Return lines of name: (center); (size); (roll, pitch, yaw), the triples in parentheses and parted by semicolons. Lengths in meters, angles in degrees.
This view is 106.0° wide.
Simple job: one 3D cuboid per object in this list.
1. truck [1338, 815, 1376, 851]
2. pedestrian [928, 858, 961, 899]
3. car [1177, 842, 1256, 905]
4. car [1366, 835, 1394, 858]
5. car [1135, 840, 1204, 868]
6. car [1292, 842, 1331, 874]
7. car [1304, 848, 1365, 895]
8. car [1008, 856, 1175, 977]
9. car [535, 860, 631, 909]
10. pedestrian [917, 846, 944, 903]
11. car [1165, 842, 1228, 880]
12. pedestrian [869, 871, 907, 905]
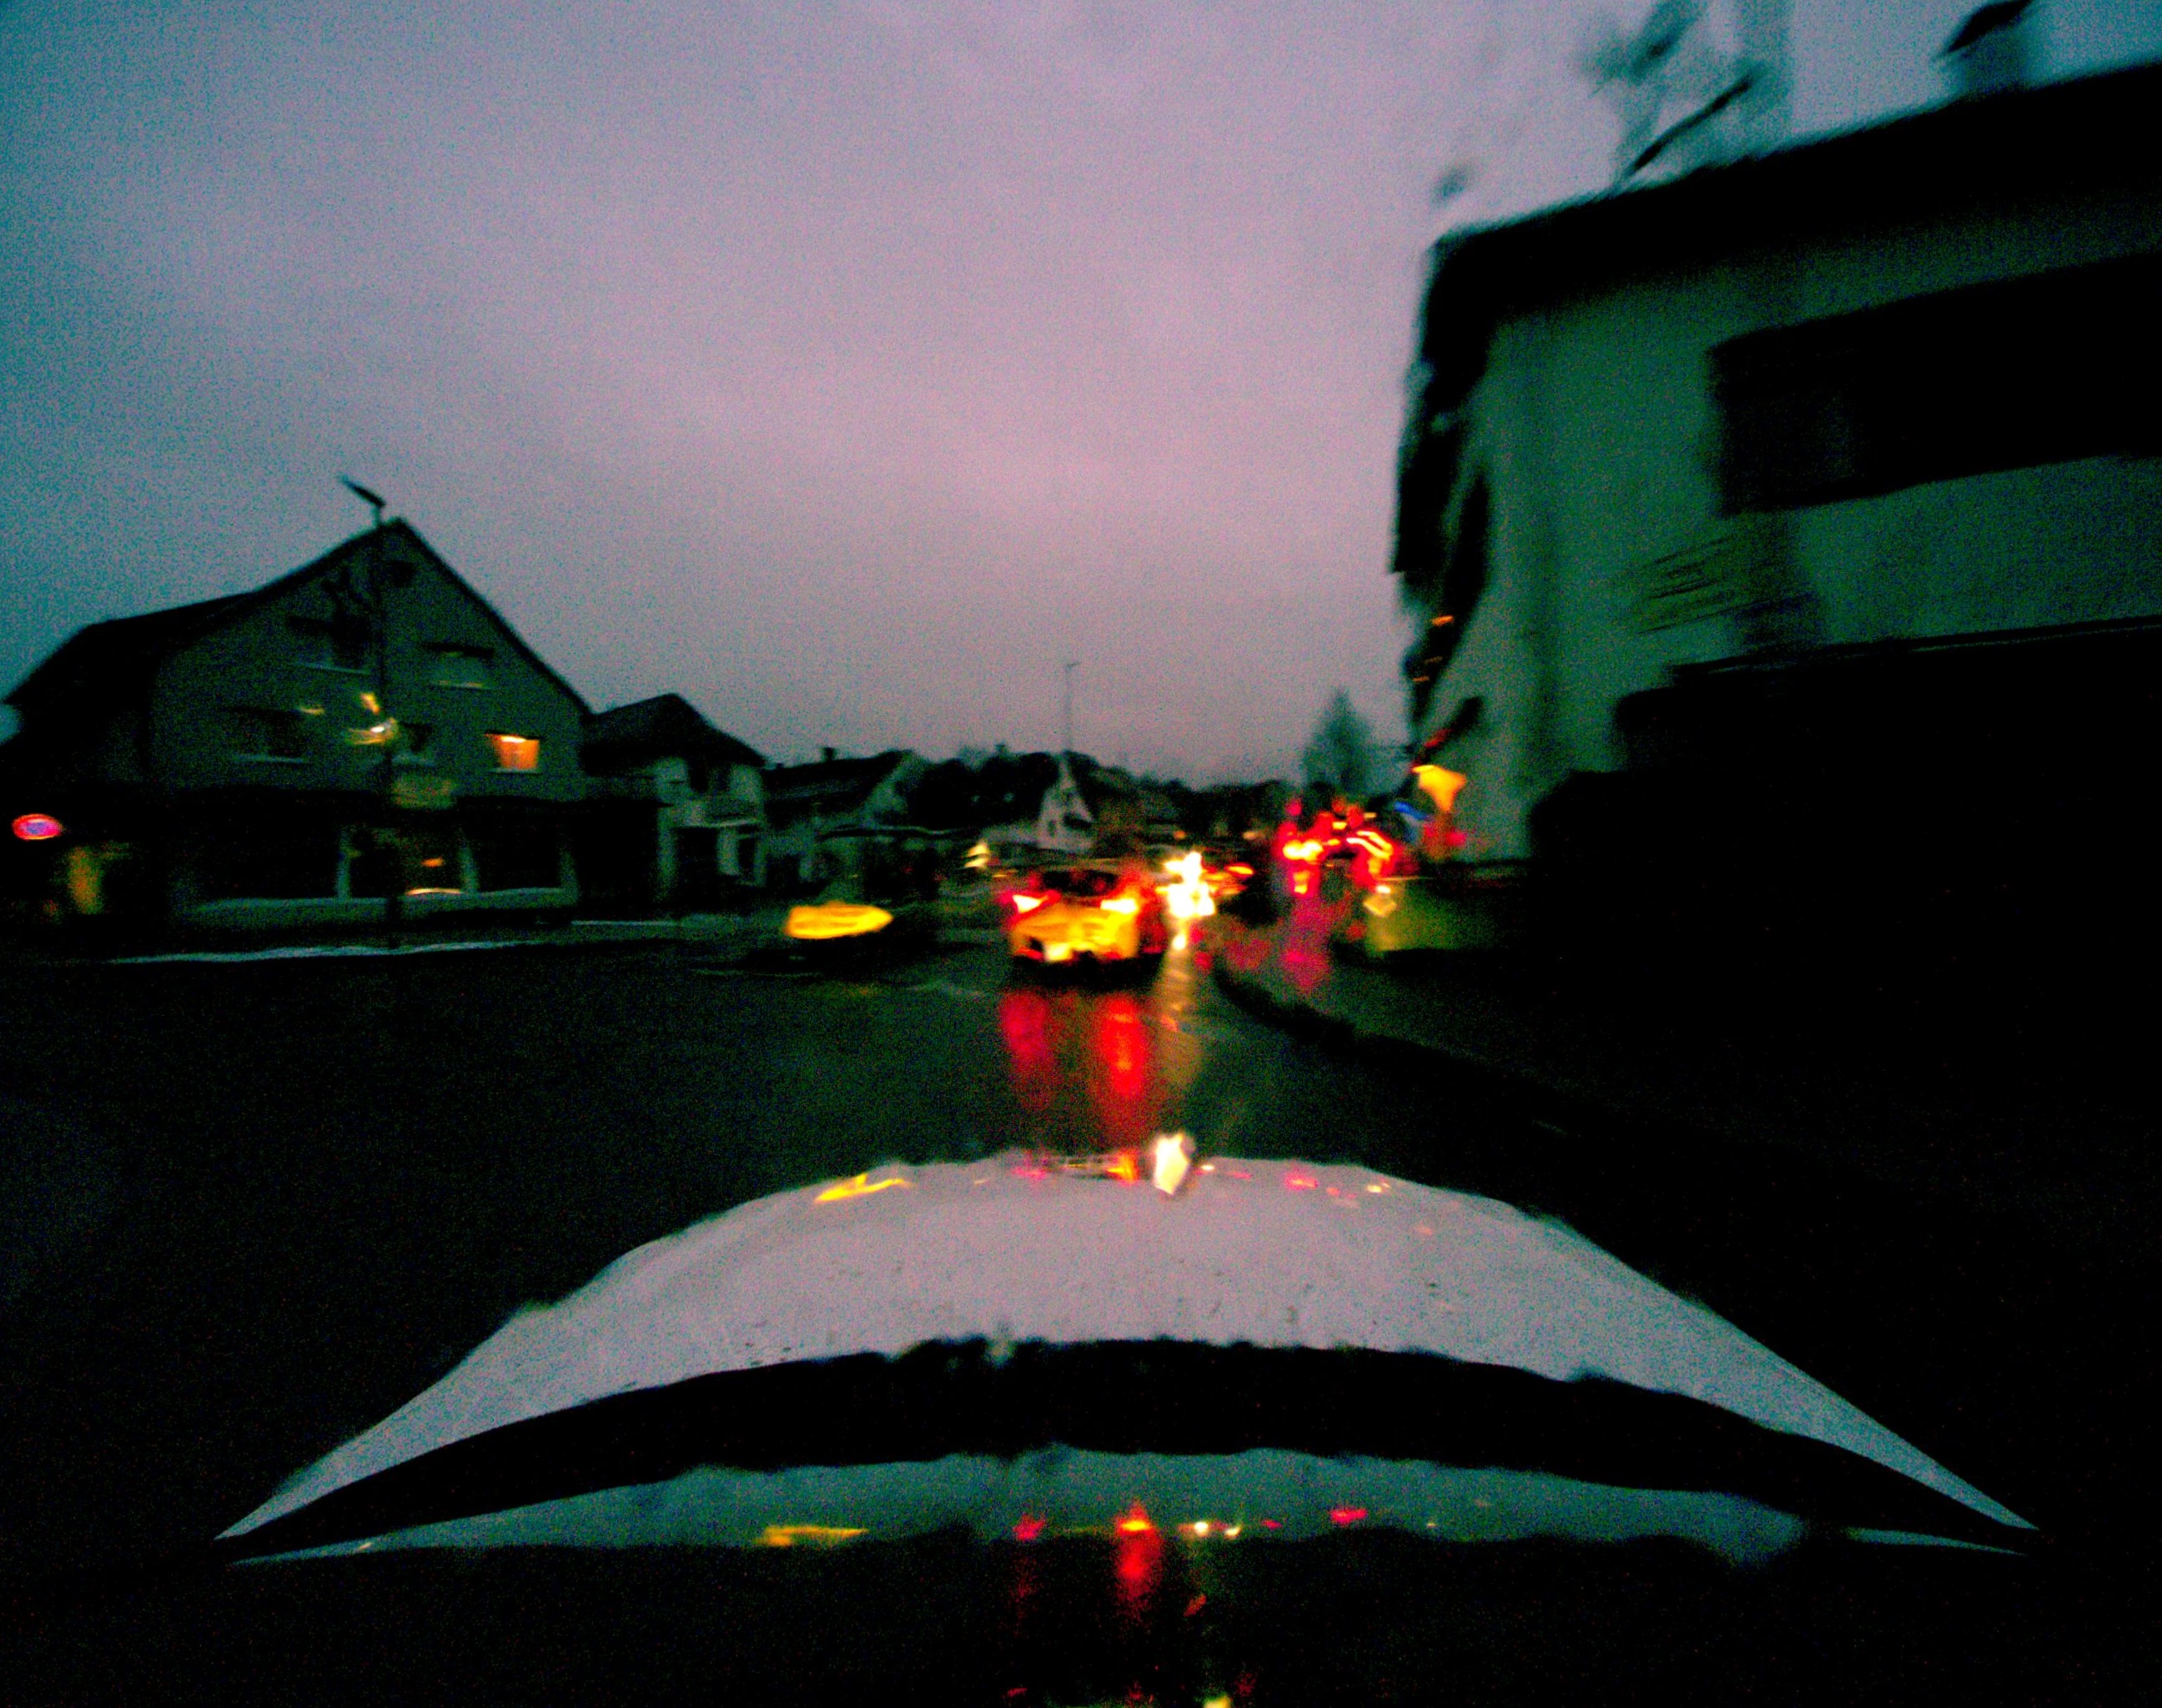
truck: (25.045, -1.947, 73.818); (2.691, 3.010, 6.026); (-2, 1, 23)
pedestrian: (-4.648, 0.837, 27.723); (0.776, 1.348, 0.720); (-2, 0, 22)
car: (4.068, 0.511, 24.036); (1.902, 1.615, 3.966); (-2, 1, 14)
car: (21.299, -0.568, 57.923); (1.675, 1.467, 3.740); (-2, 1, 23)
car: (6.003, 0.000, 55.151); (4.273, 1.640, 1.855); (-2, 1, 18)
car: (13.120, 0.171, 46.251); (1.707, 1.632, 4.021); (-2, 1, 21)
car: (9.745, 0.627, 31.137); (1.795, 1.570, 3.872); (-2, 1, 23)
car: (0.339, 0.788, 12.081); (1.698, 1.421, 4.026); (-1, 0, 12)
car: (-20.205, 1.223, 32.990); (3.948, 1.797, 1.821); (-2, 1, 35)
pedestrian: (-4.964, 0.660, 26.833); (0.726, 1.818, 0.531); (-2, 0, -1)
car: (5.417, 0.286, 37.702); (1.725, 1.568, 4.085); (-2, 1, 25)
pedestrian: (-6.193, 1.084, 26.159); (0.854, 1.010, 0.815); (-2, 0, 19)
